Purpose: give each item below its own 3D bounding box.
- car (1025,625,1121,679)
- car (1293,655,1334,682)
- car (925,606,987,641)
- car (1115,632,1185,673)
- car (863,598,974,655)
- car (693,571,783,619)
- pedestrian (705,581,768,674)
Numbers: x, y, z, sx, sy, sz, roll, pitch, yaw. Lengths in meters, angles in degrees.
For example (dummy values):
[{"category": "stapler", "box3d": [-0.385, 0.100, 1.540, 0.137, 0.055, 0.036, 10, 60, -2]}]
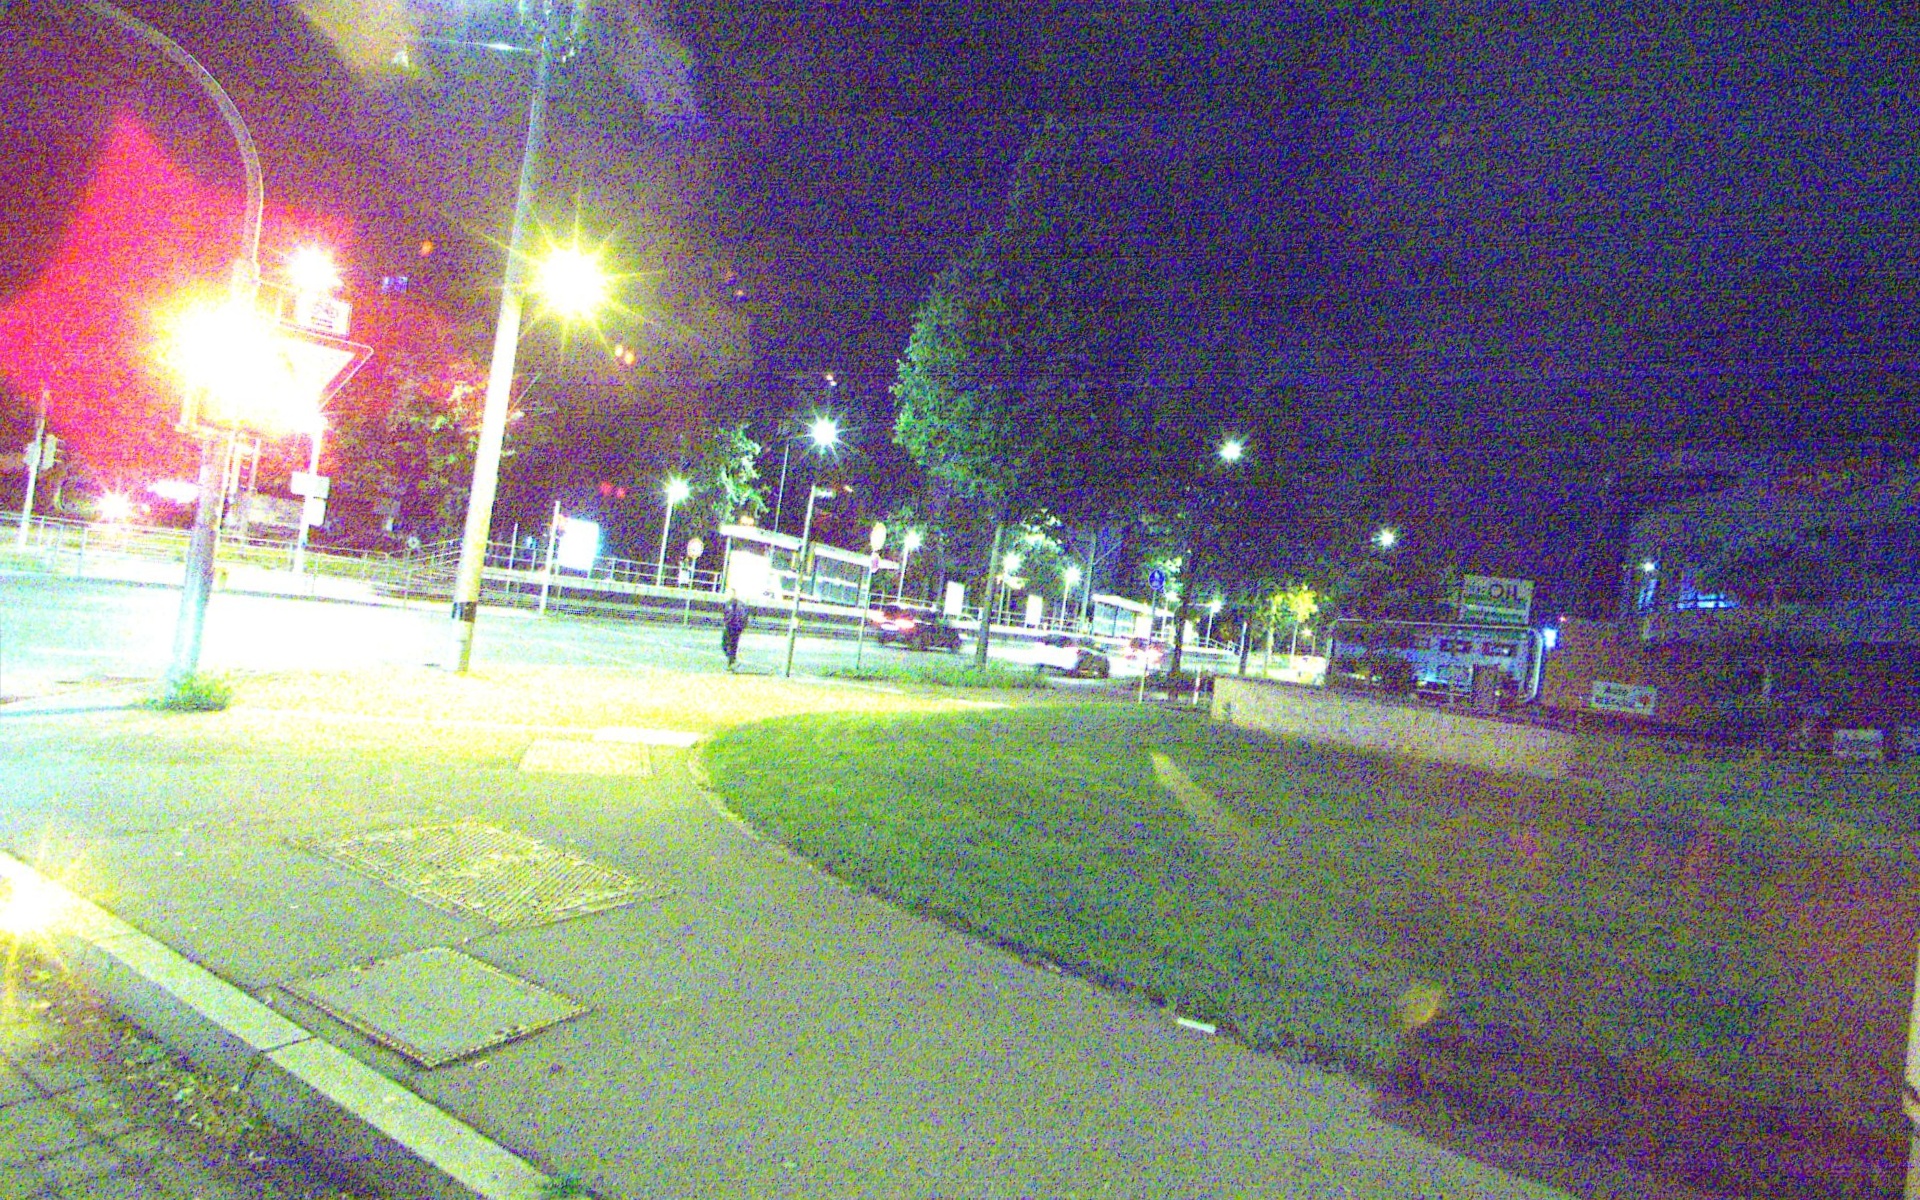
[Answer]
[{"category": "car", "box3d": [4.322, 1.977, 37.847, 1.780, 1.684, 3.988, 10, 2, 33]}, {"category": "car", "box3d": [27.182, 5.281, 77.275, 1.844, 1.703, 4.288, 9, 0, 32]}, {"category": "car", "box3d": [-0.223, 1.568, 66.092, 1.970, 2.039, 3.985, 6, 0, 36]}, {"category": "car", "box3d": [9.851, 2.754, 51.933, 1.781, 1.671, 4.346, 8, 0, 34]}, {"category": "car", "box3d": [-1.552, 1.069, 39.258, 1.834, 1.679, 4.449, 9, 0, 35]}, {"category": "car", "box3d": [-11.085, -0.204, 50.496, 1.970, 2.039, 3.985, 6, 0, 36]}, {"category": "pedestrian", "box3d": [-4.497, 0.550, 20.224, 0.820, 1.767, 0.755, 6, 1, 31]}]
